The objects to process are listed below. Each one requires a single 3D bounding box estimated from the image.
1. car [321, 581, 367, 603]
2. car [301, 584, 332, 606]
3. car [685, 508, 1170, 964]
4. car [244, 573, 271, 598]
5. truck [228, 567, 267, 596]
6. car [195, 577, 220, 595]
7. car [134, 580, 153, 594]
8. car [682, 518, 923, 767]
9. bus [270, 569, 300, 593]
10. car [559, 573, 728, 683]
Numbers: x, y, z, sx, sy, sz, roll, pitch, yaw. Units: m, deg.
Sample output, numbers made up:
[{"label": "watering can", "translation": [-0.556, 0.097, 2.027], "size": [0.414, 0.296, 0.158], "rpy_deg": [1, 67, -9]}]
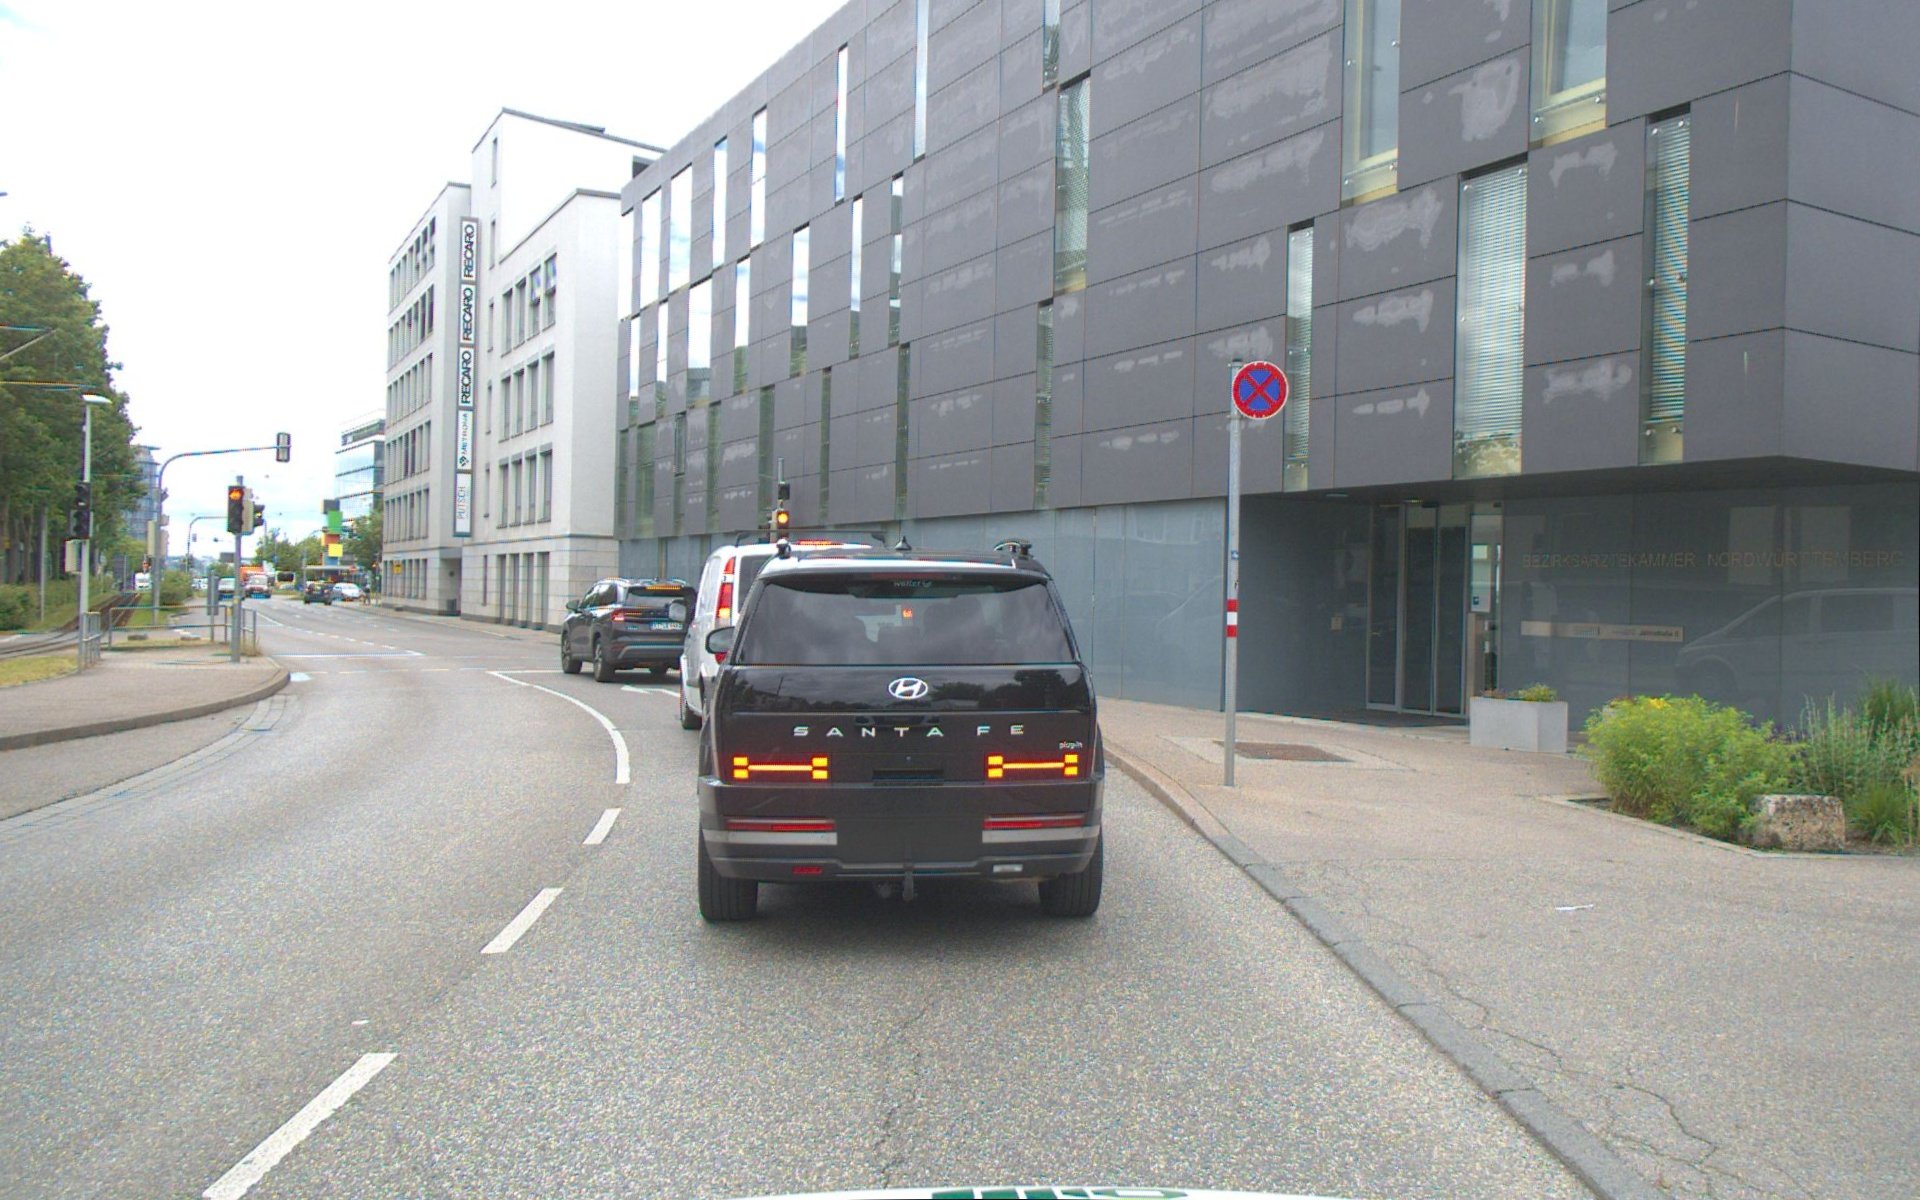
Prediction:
[{"label": "car", "translation": [-51.831, -0.656, 139.159], "size": [3.923, 1.790, 1.849], "rpy_deg": [1, 0, 38]}, {"label": "car", "translation": [-46.571, -0.394, 119.761], "size": [1.870, 1.512, 3.978], "rpy_deg": [1, 0, -19]}, {"label": "car", "translation": [-0.259, 0.544, 8.734], "size": [1.877, 1.755, 4.167], "rpy_deg": [3, 0, -4]}, {"label": "car", "translation": [-56.895, -1.158, 133.947], "size": [1.825, 1.956, 3.974], "rpy_deg": [1, 0, -21]}, {"label": "truck", "translation": [-72.106, -1.900, 167.309], "size": [2.548, 2.874, 6.913], "rpy_deg": [1, 0, -32]}, {"label": "car", "translation": [-82.434, -1.554, 181.205], "size": [1.897, 1.755, 4.125], "rpy_deg": [3, 0, -32]}, {"label": "car", "translation": [-112.511, -1.732, 227.773], "size": [1.897, 1.755, 4.125], "rpy_deg": [3, 0, -32]}, {"label": "car", "translation": [-1.678, 0.338, 16.107], "size": [1.823, 2.069, 4.424], "rpy_deg": [1, 1, -12]}, {"label": "bus", "translation": [-90.712, -2.584, 222.220], "size": [3.045, 2.979, 10.256], "rpy_deg": [3, 0, -26]}, {"label": "car", "translation": [-5.436, 0.434, 27.969], "size": [1.824, 1.706, 4.340], "rpy_deg": [0, 0, -25]}]
